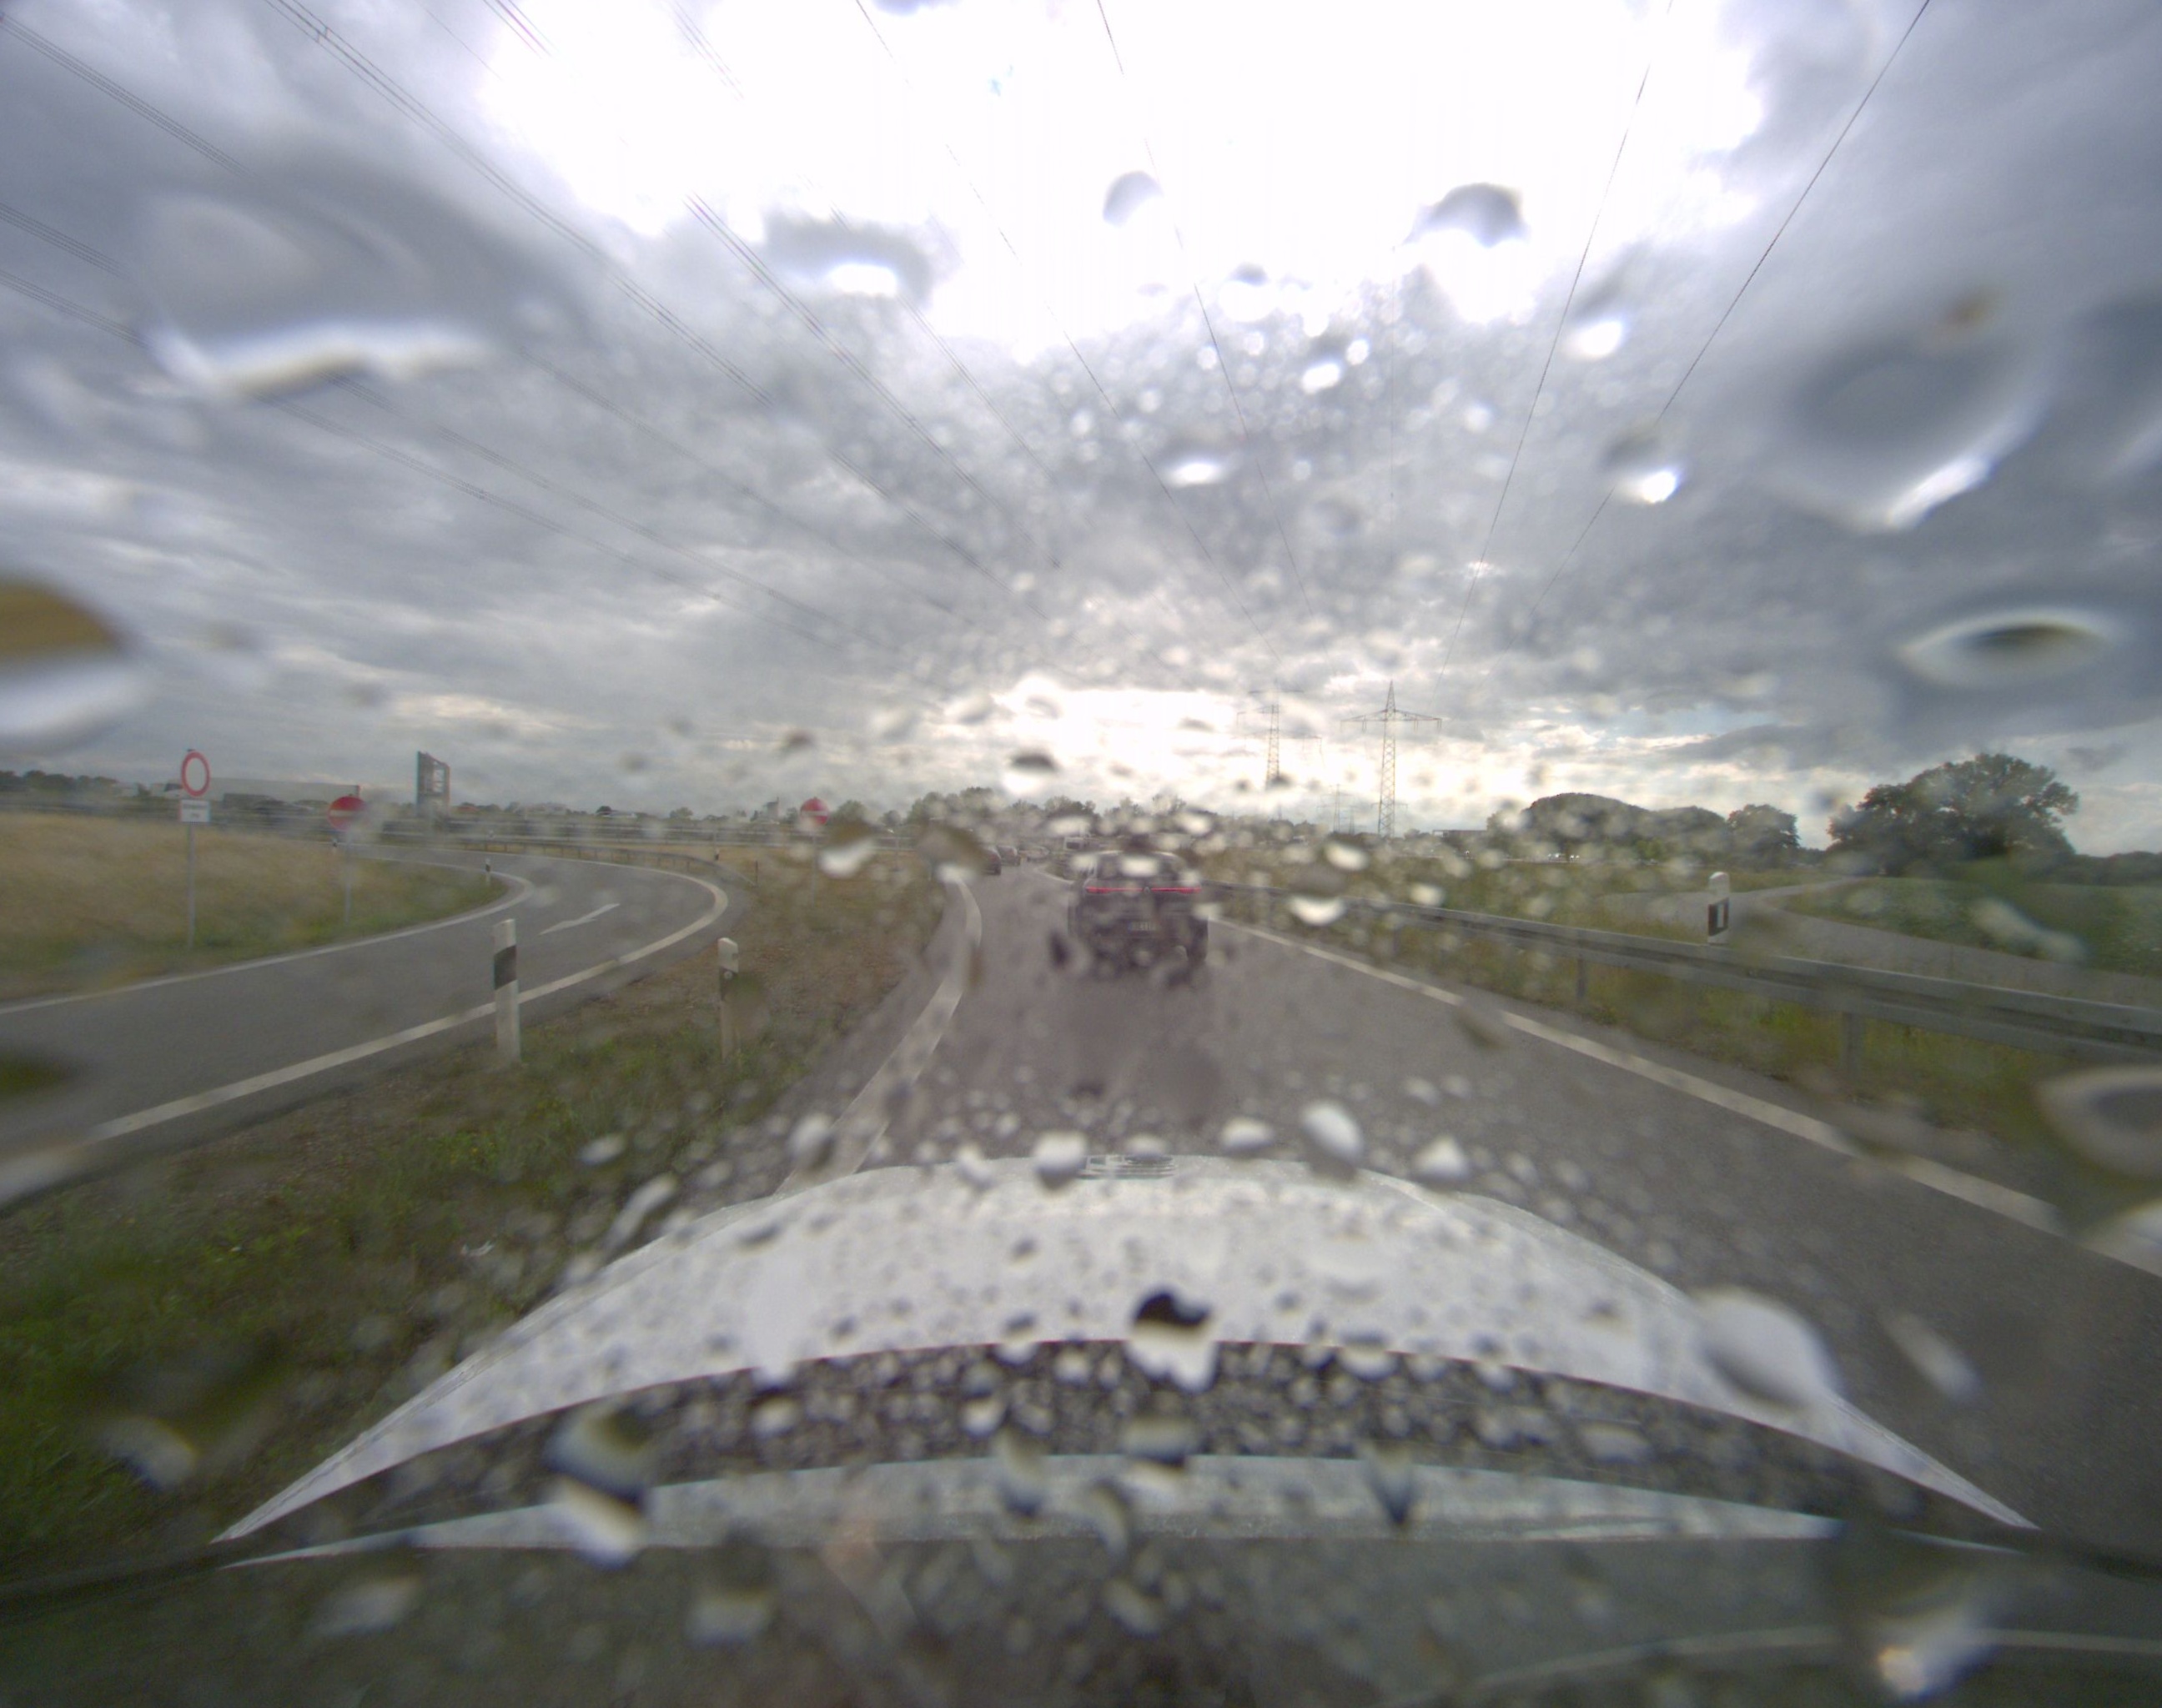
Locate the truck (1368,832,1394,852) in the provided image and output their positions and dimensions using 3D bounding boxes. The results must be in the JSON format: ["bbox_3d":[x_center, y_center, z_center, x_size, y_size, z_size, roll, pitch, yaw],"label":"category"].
[{"bbox_3d":[67.566,-2.721,183.590,5.092,4.478,3.047,0,3,-34],"label":"truck"}]

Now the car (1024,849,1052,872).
[{"bbox_3d":[-4.053,0.593,77.713,1.983,2.013,4.009,1,2,7],"label":"car"}]

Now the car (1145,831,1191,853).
[{"bbox_3d":[12.126,-1.730,113.082,3.106,2.950,7.255,3,3,37],"label":"car"}]

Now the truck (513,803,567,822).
[{"bbox_3d":[-77.546,-5.922,116.761,6.338,2.499,1.978,-1,3,-37],"label":"truck"}]

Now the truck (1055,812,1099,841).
[{"bbox_3d":[-0.614,-4.490,133.339,6.294,4.564,3.316,-1,3,-35],"label":"truck"}]

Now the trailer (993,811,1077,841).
[{"bbox_3d":[-7.127,-4.407,128.849,13.447,4.615,3.447,-1,3,-35],"label":"trailer"}]

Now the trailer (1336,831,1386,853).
[{"bbox_3d":[61.885,-2.688,179.733,13.356,4.634,3.026,-1,3,-35],"label":"trailer"}]

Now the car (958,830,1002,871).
[{"bbox_3d":[-5.383,-0.219,44.017,2.118,2.018,5.525,2,1,-5],"label":"car"}]

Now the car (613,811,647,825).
[{"bbox_3d":[-62.660,-5.000,113.185,4.016,1.848,1.873,-1,3,-34],"label":"car"}]

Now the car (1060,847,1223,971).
[{"bbox_3d":[0.741,0.690,12.664,1.989,1.566,4.144,0,1,-4],"label":"car"}]

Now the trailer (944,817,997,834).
[{"bbox_3d":[-21.407,-5.510,158.703,10.533,3.026,2.294,-1,3,-37],"label":"trailer"}]

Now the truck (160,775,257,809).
[{"bbox_3d":[-103.607,-7.266,96.917,7.413,3.540,2.794,1,2,-38],"label":"truck"}]

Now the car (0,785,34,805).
[{"bbox_3d":[-105.463,-5.778,79.214,4.016,1.848,1.873,-1,3,-34],"label":"car"}]

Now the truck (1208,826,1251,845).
[{"bbox_3d":[35.856,-4.496,195.759,12.551,4.123,1.978,2,1,-36],"label":"truck"}]

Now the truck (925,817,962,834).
[{"bbox_3d":[-26.141,-5.447,155.114,6.498,3.026,2.294,-1,3,-37],"label":"truck"}]

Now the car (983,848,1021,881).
[{"bbox_3d":[-6.131,0.768,63.968,2.343,2.306,5.130,1,2,1],"label":"car"}]

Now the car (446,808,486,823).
[{"bbox_3d":[-78.908,-4.946,104.550,4.016,1.848,1.873,-1,3,-34],"label":"car"}]

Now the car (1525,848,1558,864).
[{"bbox_3d":[108.462,0.470,191.732,9.086,3.610,3.356,2,1,-38],"label":"car"}]

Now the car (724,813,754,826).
[{"bbox_3d":[-52.727,-5.346,125.658,4.016,1.848,1.873,-1,3,-34],"label":"car"}]

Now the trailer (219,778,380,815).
[{"bbox_3d":[-97.180,-7.086,101.795,14.164,3.670,2.828,2,1,-37],"label":"trailer"}]

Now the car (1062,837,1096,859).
[{"bbox_3d":[-0.163,-0.726,91.581,2.333,2.306,5.152,2,3,17],"label":"car"}]
